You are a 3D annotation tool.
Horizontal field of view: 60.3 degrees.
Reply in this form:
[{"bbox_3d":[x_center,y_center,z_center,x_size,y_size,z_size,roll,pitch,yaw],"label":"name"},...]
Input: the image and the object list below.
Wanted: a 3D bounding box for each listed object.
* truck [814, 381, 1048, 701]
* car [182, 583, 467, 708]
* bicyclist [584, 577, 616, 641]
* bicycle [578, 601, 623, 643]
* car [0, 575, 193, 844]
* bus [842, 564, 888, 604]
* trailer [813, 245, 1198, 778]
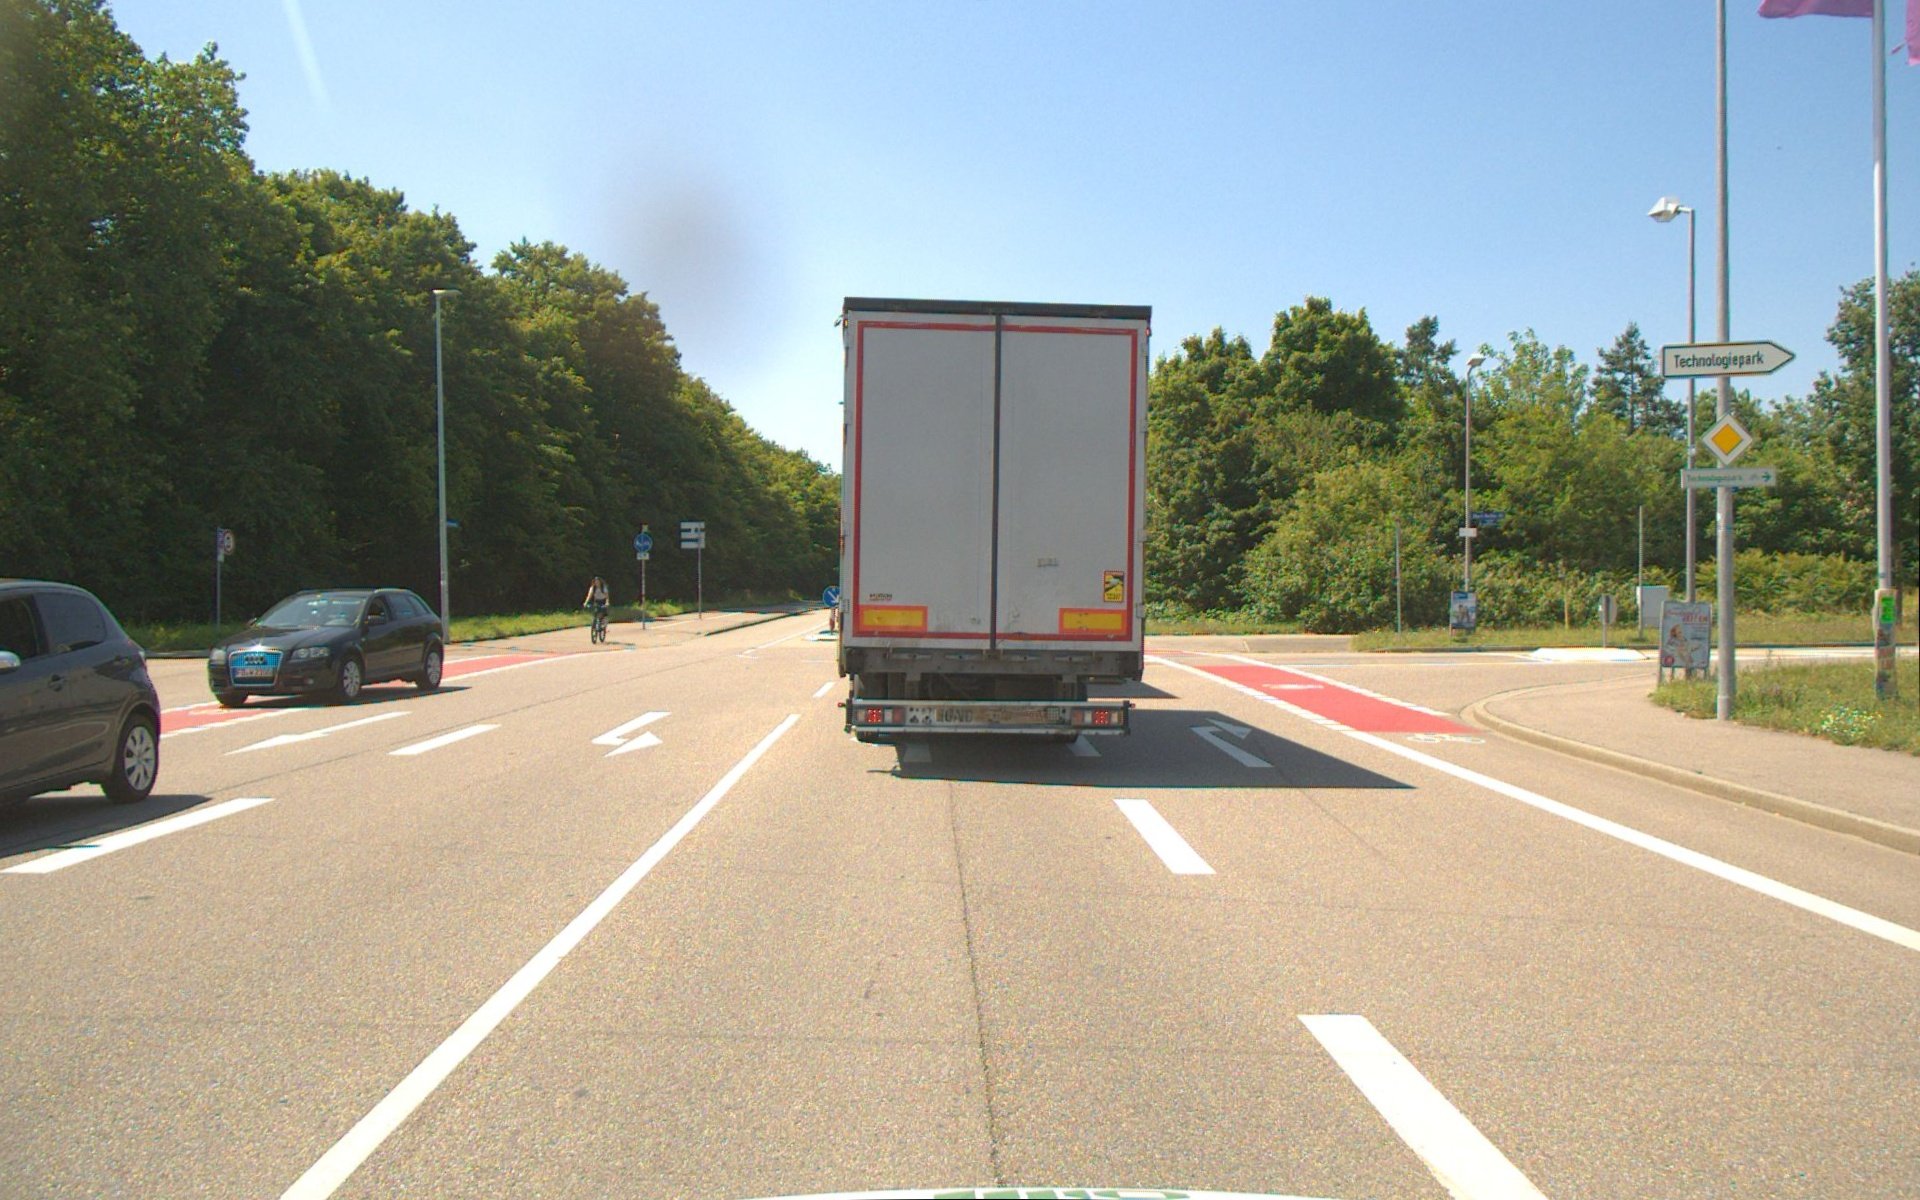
[{"bbox_3d":[-0.714,-0.808,25.527,3.017,4.141,7.950,0,1,-5],"label":"truck"},{"bbox_3d":[-8.401,0.541,22.348,1.706,1.430,4.445,0,2,6],"label":"car"},{"bbox_3d":[-9.855,0.246,45.278,0.651,1.735,0.770,1,1,3],"label":"bicyclist"},{"bbox_3d":[-9.857,0.594,45.398,0.655,1.073,2.046,1,1,4],"label":"bicycle"},{"bbox_3d":[-6.104,0.621,9.689,1.589,1.481,3.501,-2,0,-1],"label":"car"},{"bbox_3d":[-7.839,-1.416,137.981,2.692,3.098,11.943,-1,1,2],"label":"bus"},{"bbox_3d":[-0.047,-0.734,17.872,3.017,4.141,9.799,0,1,-5],"label":"trailer"}]
